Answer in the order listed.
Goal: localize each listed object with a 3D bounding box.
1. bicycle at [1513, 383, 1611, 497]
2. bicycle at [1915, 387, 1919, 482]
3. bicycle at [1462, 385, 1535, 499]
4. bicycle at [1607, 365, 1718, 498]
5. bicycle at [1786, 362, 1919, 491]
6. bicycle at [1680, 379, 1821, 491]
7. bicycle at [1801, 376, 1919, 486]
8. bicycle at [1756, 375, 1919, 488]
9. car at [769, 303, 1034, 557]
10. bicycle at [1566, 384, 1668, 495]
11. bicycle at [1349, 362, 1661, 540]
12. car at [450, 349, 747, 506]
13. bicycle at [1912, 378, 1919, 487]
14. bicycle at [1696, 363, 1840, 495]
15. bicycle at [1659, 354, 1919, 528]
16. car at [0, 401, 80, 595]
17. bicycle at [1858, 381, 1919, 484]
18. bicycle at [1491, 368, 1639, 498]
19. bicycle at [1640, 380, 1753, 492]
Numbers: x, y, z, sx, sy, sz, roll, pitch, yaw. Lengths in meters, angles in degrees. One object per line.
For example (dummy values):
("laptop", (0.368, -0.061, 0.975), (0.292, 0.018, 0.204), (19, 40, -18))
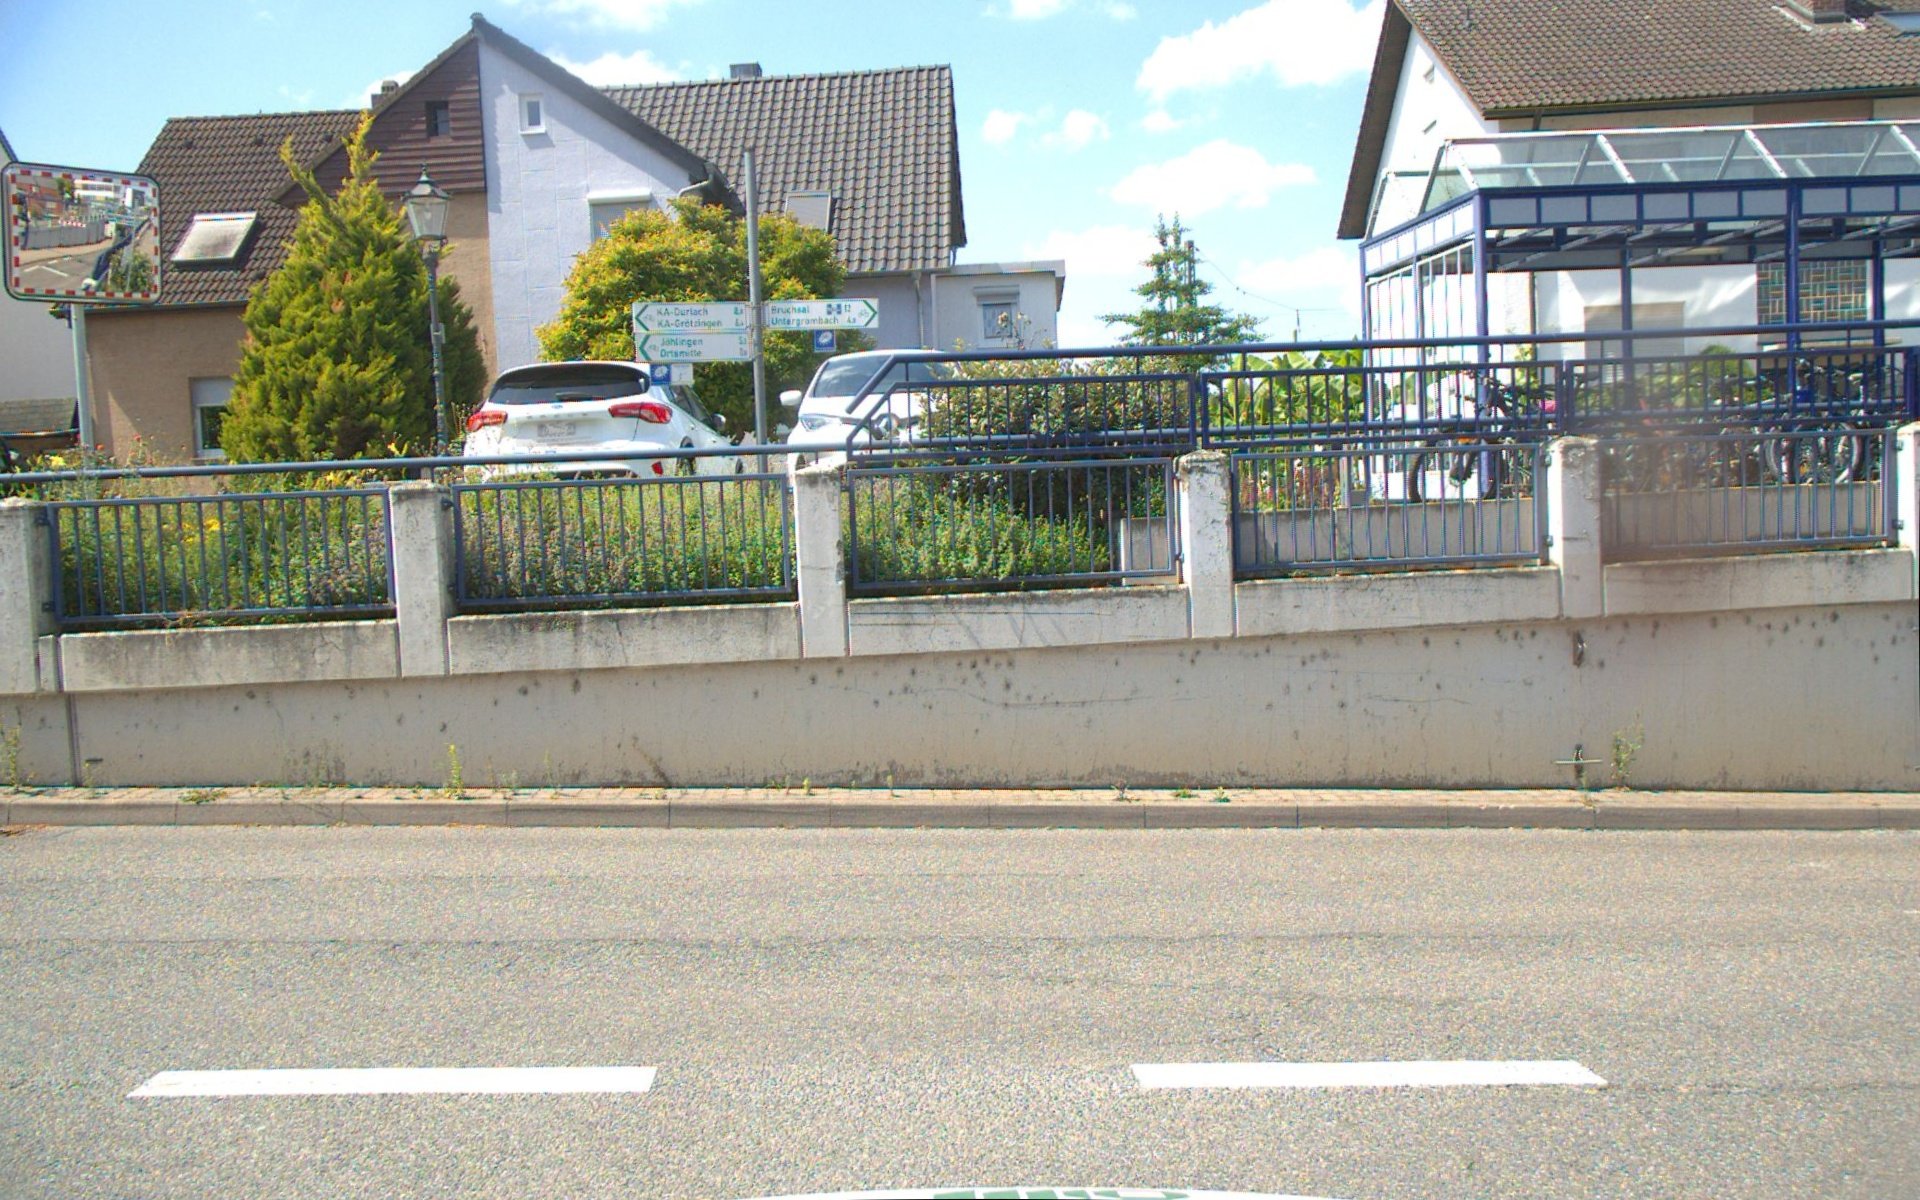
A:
("bicycle", (5.831, -1.523, 16.104), (0.365, 1.012, 1.967), (-2, 3, 4))
("bicycle", (10.541, -1.729, 16.819), (0.509, 1.012, 1.800), (-2, 3, -5))
("bicycle", (5.161, -1.489, 15.919), (0.445, 1.012, 1.890), (-1, 3, 12))
("bicycle", (5.857, -1.368, 13.875), (0.426, 1.012, 2.105), (-1, 3, 11))
("bicycle", (7.927, -1.471, 14.430), (0.426, 1.012, 2.283), (-2, 3, 3))
("bicycle", (7.891, -1.623, 16.600), (0.417, 1.012, 1.966), (-2, 3, -2))
("bicycle", (9.194, -1.667, 16.554), (0.406, 1.012, 1.964), (-2, 3, -5))
("bicycle", (8.727, -1.649, 16.529), (0.464, 1.012, 1.964), (-2, 3, -5))
("car", (-0.414, -1.327, 14.481), (1.952, 1.828, 4.197), (1, 1, 1))
("bicycle", (6.549, -1.573, 16.552), (0.365, 1.012, 1.967), (-2, 3, 4))
("bicycle", (3.749, -1.023, 11.377), (2.074, 1.145, 0.333), (-2, 3, -6))
("car", (-3.010, -1.427, 14.469), (1.787, 1.037, 3.460), (1, 1, 1))
("bicycle", (9.254, -1.517, 14.407), (0.522, 1.012, 2.281), (-2, 3, -2))
("bicycle", (6.851, -1.416, 14.114), (0.426, 1.012, 2.104), (-1, 3, 7))
("bicycle", (5.998, -1.115, 11.617), (2.074, 1.145, 0.392), (-2, 3, -6))
("car", (-9.967, -0.970, 14.948), (1.829, 1.828, 4.001), (1, 1, 1))
("bicycle", (9.892, -1.696, 16.640), (0.509, 1.012, 1.964), (-2, 3, -5))
("bicycle", (5.173, -1.399, 14.269), (0.325, 1.012, 2.074), (-2, 3, -5))
("bicycle", (7.274, -1.591, 16.405), (0.365, 1.012, 1.967), (-2, 3, 4))
